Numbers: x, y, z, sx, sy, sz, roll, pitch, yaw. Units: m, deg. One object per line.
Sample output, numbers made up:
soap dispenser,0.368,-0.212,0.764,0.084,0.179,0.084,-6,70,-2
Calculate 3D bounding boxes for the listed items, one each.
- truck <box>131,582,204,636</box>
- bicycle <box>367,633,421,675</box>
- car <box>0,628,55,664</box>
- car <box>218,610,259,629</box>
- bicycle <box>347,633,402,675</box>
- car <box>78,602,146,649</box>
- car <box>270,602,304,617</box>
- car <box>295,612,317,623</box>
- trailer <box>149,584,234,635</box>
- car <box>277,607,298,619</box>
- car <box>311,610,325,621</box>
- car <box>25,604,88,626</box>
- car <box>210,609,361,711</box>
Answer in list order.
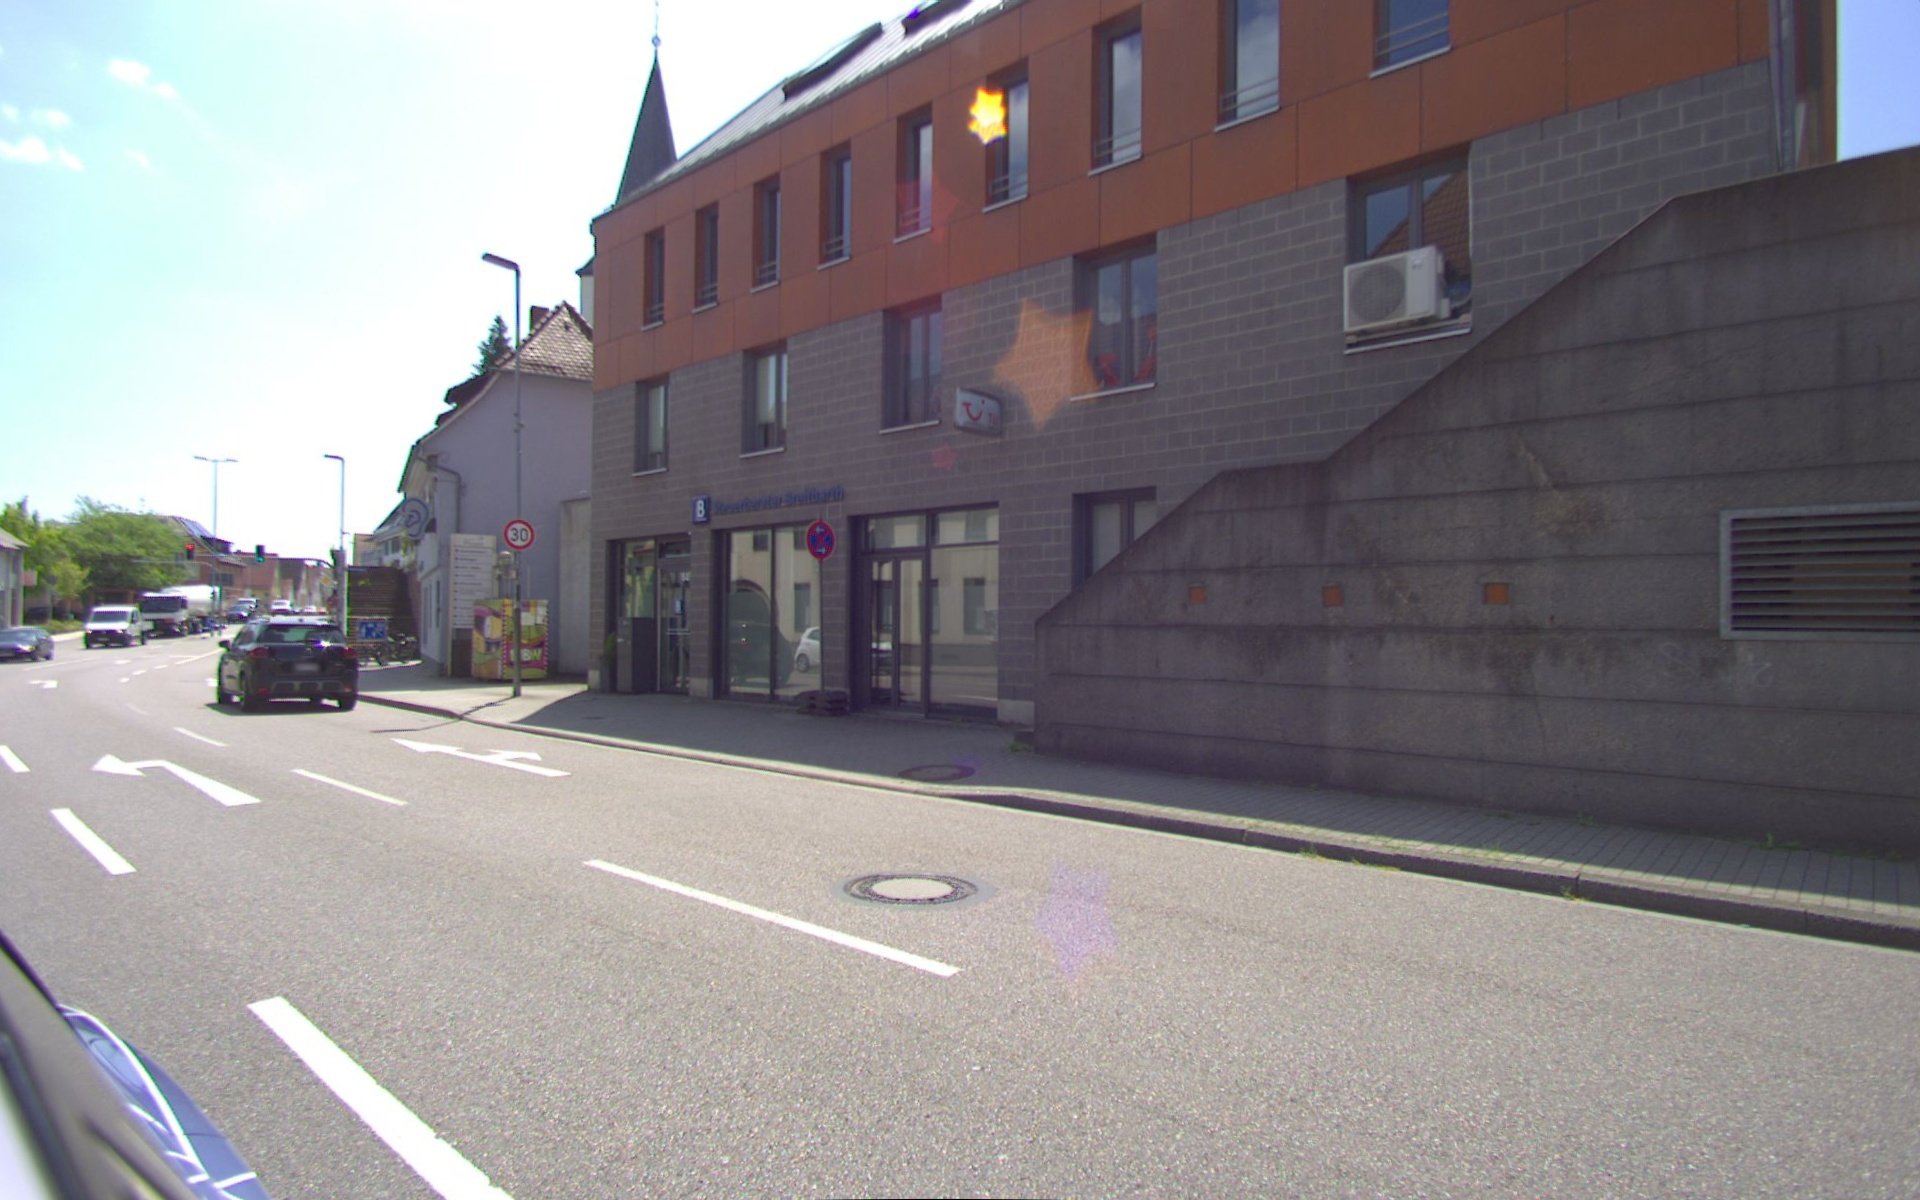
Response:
truck,-55.422,0.686,70.888,2.800,3.597,5.486,1,-2,-25
bicycle,-18.732,1.777,33.526,0.571,1.258,1.828,-3,0,6
car,-39.769,1.929,42.515,1.898,1.376,4.315,-1,0,-32
car,-64.397,1.725,90.351,1.978,1.643,4.592,1,-1,-22
bicycle,-19.376,1.785,33.530,0.571,1.258,1.828,-3,0,6
car,-49.121,1.466,58.710,2.139,2.583,4.839,1,-2,-30
car,-79.512,1.151,119.615,1.979,1.643,4.591,0,-1,-16
car,-99.580,2.733,154.159,1.978,1.643,4.592,1,-1,-22
trailer,-58.262,0.776,77.024,2.790,3.597,11.001,1,-1,-25
car,-90.093,1.763,135.583,1.978,1.643,4.592,1,-2,-30
car,-111.025,2.715,175.056,1.737,1.799,4.012,0,-1,-29
car,-75.664,1.239,84.796,3.699,1.723,1.730,-1,0,-33
car,-12.491,1.055,18.636,1.650,1.670,4.022,3,-3,-43
